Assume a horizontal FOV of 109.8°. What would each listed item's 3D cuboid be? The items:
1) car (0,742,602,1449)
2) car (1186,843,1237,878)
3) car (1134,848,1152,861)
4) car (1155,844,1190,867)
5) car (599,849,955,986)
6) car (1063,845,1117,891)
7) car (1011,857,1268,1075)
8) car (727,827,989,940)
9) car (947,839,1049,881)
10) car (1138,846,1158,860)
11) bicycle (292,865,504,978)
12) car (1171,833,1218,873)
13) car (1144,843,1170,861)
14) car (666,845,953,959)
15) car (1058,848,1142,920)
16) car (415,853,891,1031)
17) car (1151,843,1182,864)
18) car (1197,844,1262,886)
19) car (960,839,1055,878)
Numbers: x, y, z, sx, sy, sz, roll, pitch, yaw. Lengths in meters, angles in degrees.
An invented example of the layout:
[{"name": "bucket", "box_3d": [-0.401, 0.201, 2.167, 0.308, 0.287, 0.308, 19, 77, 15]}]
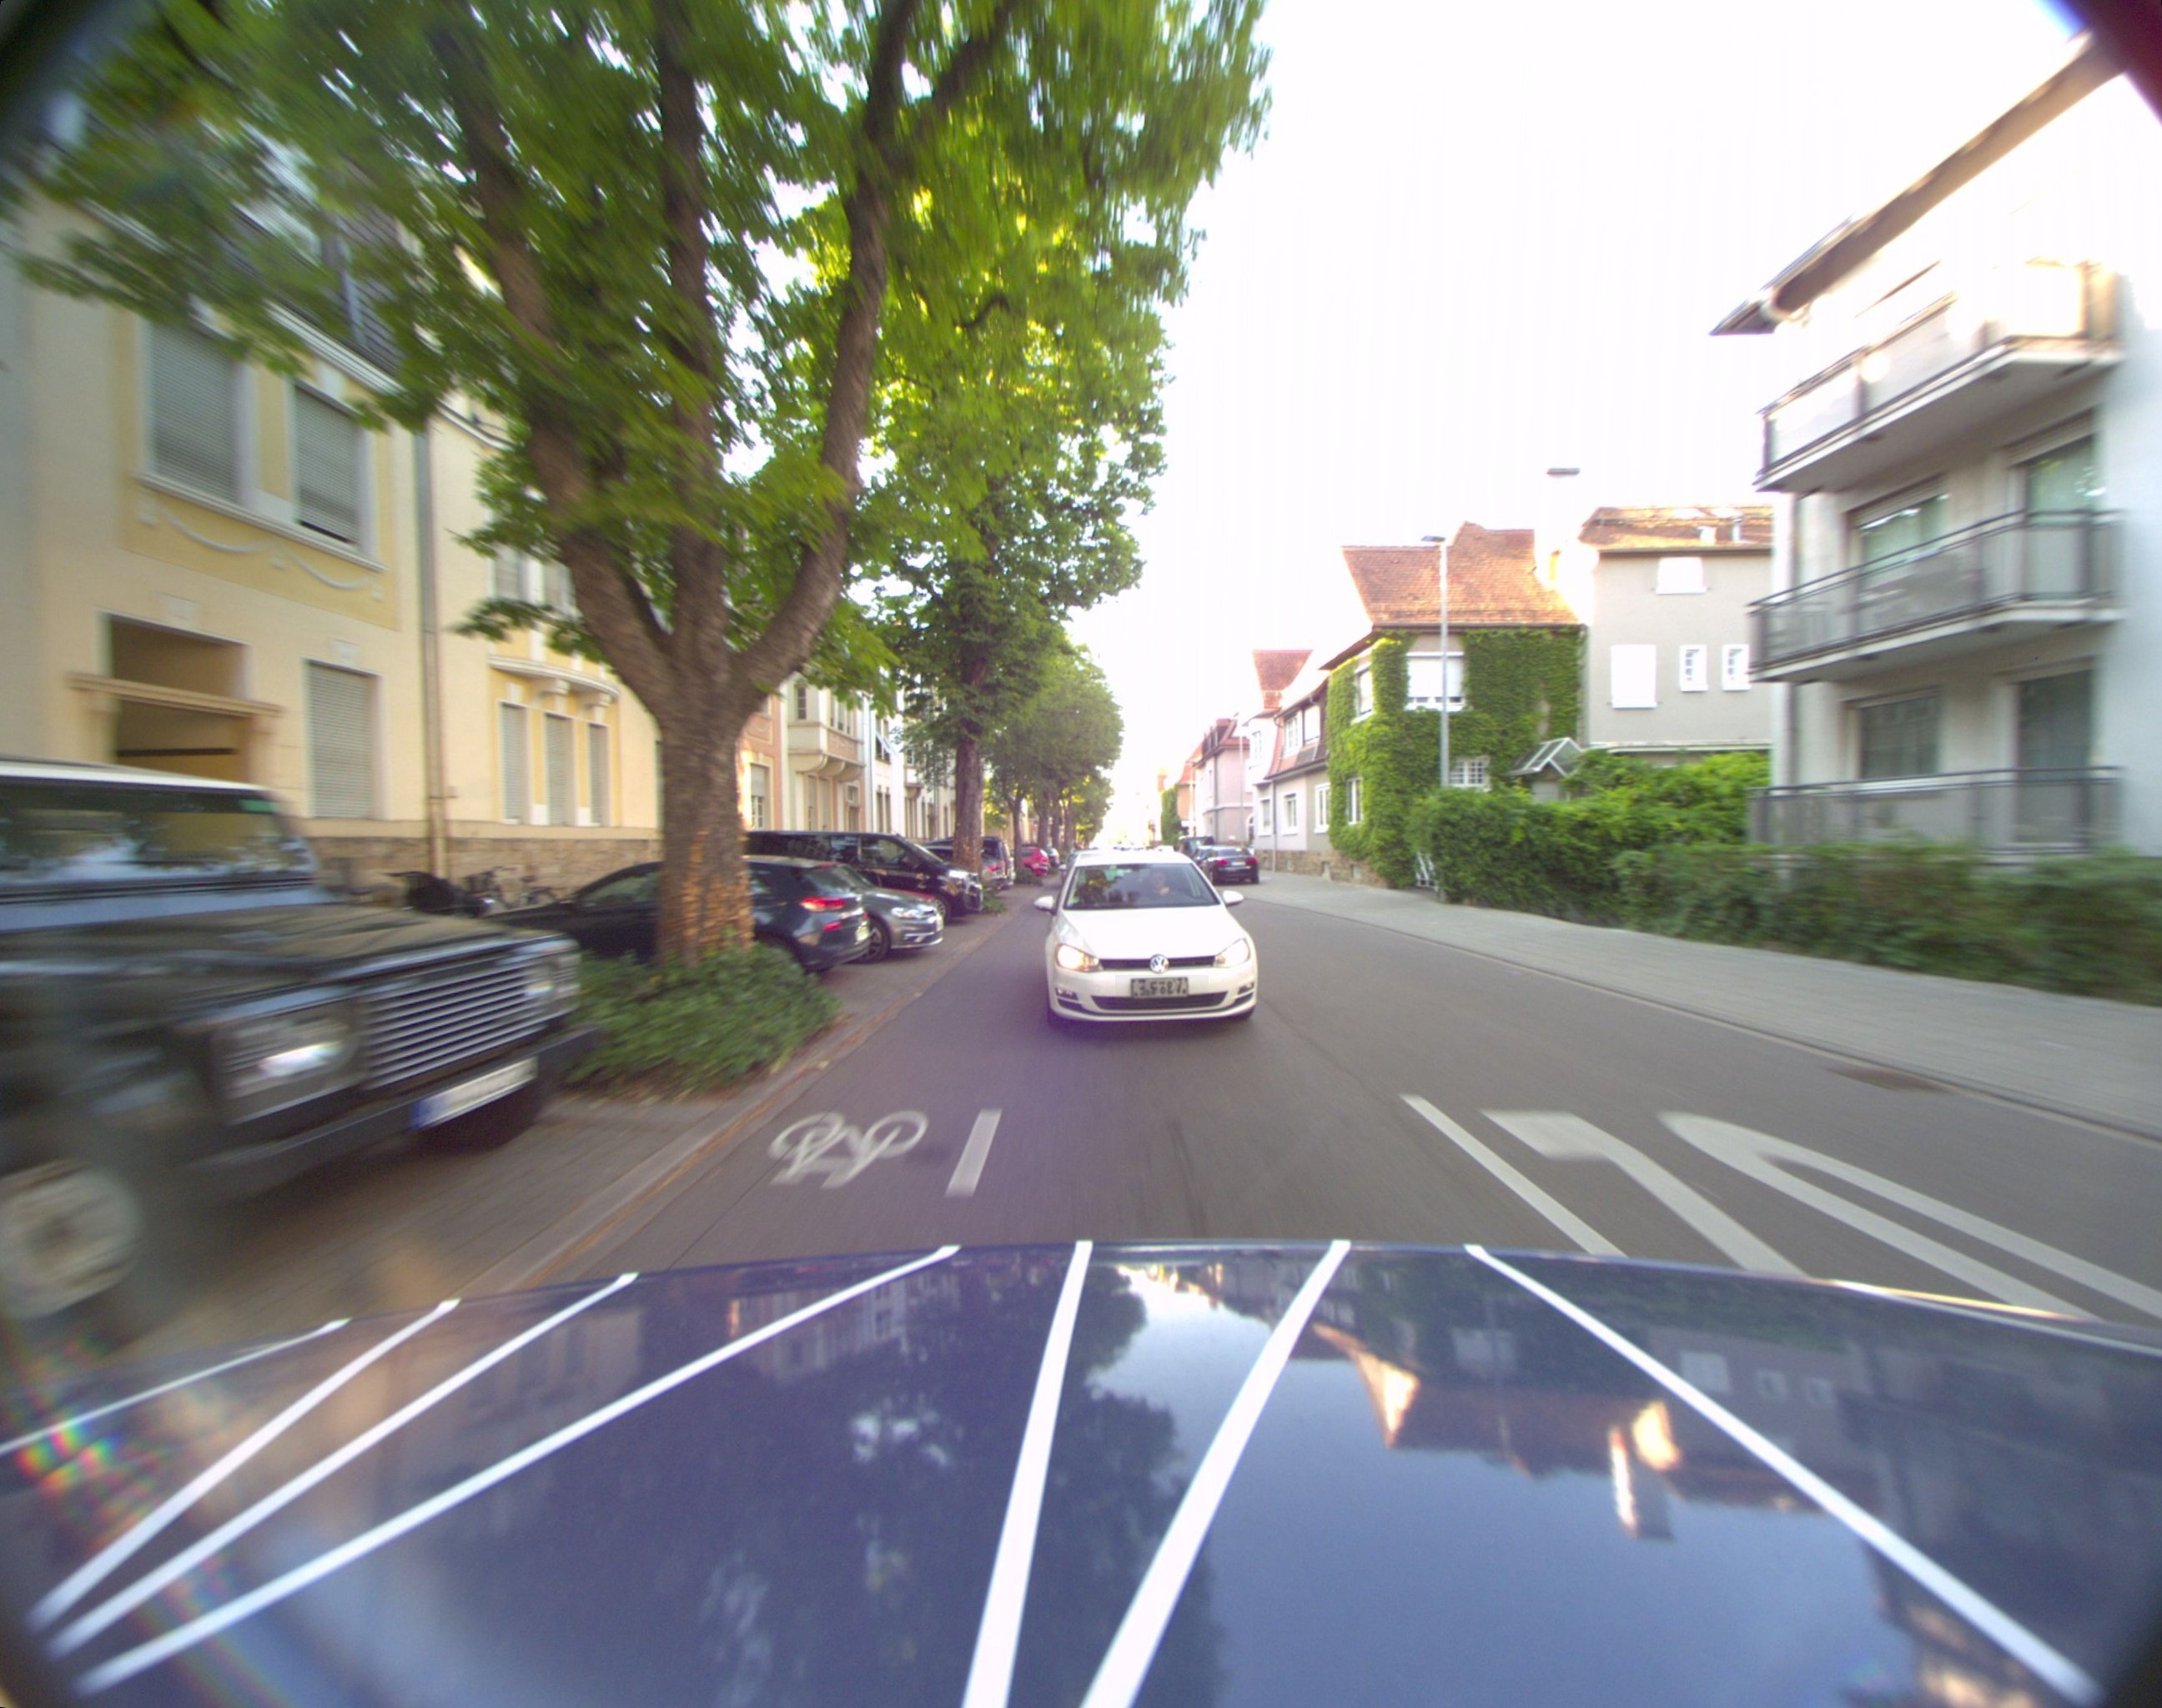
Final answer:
[{"name": "car", "box_3d": [-4.695, 0.648, 2.976, 4.431, 1.974, 1.758, 0, 4, 1]}, {"name": "car", "box_3d": [6.005, 0.254, 35.367, 1.692, 1.445, 3.999, -2, 1, 1]}, {"name": "car", "box_3d": [7.330, 0.099, 90.518, 1.821, 1.419, 4.288, -2, 1, 1]}, {"name": "car", "box_3d": [6.174, 0.045, 51.604, 1.821, 1.419, 4.288, -2, 1, 1]}, {"name": "car", "box_3d": [-4.087, 0.811, 10.845, 4.208, 1.598, 1.999, -2, 2, -1]}, {"name": "car", "box_3d": [0.358, 0.456, 29.058, 1.843, 1.509, 4.752, -2, 1, 1]}, {"name": "car", "box_3d": [0.456, 0.837, 7.635, 1.843, 1.442, 4.110, -2, 1, 1]}, {"name": "car", "box_3d": [-4.401, 0.544, 15.619, 4.709, 2.002, 1.999, -2, 1, -1]}, {"name": "car", "box_3d": [-3.996, 0.272, 37.087, 4.709, 1.863, 1.999, -2, 1, -1]}, {"name": "car", "box_3d": [7.311, -0.127, 83.329, 1.821, 1.419, 4.288, -2, 1, 1]}, {"name": "bicycle", "box_3d": [-9.096, 0.832, 10.289, 0.761, 1.277, 2.204, 1, 1, 5]}, {"name": "car", "box_3d": [5.961, -0.073, 40.248, 1.821, 1.895, 4.288, -2, 1, 1]}, {"name": "car", "box_3d": [6.506, -0.181, 65.529, 1.821, 1.419, 4.288, -2, 1, 1]}, {"name": "car", "box_3d": [-4.540, 0.764, 13.259, 4.208, 1.678, 1.999, -2, 1, -1]}, {"name": "car", "box_3d": [0.455, 0.660, 19.155, 1.843, 1.509, 4.021, -2, 1, 1]}, {"name": "car", "box_3d": [-4.544, 0.885, 8.647, 4.208, 1.619, 1.972, -2, 1, -1]}, {"name": "car", "box_3d": [6.420, -0.056, 57.328, 1.821, 1.419, 4.288, -2, 1, 1]}, {"name": "car", "box_3d": [5.639, 0.379, 29.307, 1.692, 1.445, 3.999, -2, 1, 1]}, {"name": "car", "box_3d": [-3.761, 0.211, 39.735, 4.709, 1.863, 1.999, -2, 1, -1]}]
